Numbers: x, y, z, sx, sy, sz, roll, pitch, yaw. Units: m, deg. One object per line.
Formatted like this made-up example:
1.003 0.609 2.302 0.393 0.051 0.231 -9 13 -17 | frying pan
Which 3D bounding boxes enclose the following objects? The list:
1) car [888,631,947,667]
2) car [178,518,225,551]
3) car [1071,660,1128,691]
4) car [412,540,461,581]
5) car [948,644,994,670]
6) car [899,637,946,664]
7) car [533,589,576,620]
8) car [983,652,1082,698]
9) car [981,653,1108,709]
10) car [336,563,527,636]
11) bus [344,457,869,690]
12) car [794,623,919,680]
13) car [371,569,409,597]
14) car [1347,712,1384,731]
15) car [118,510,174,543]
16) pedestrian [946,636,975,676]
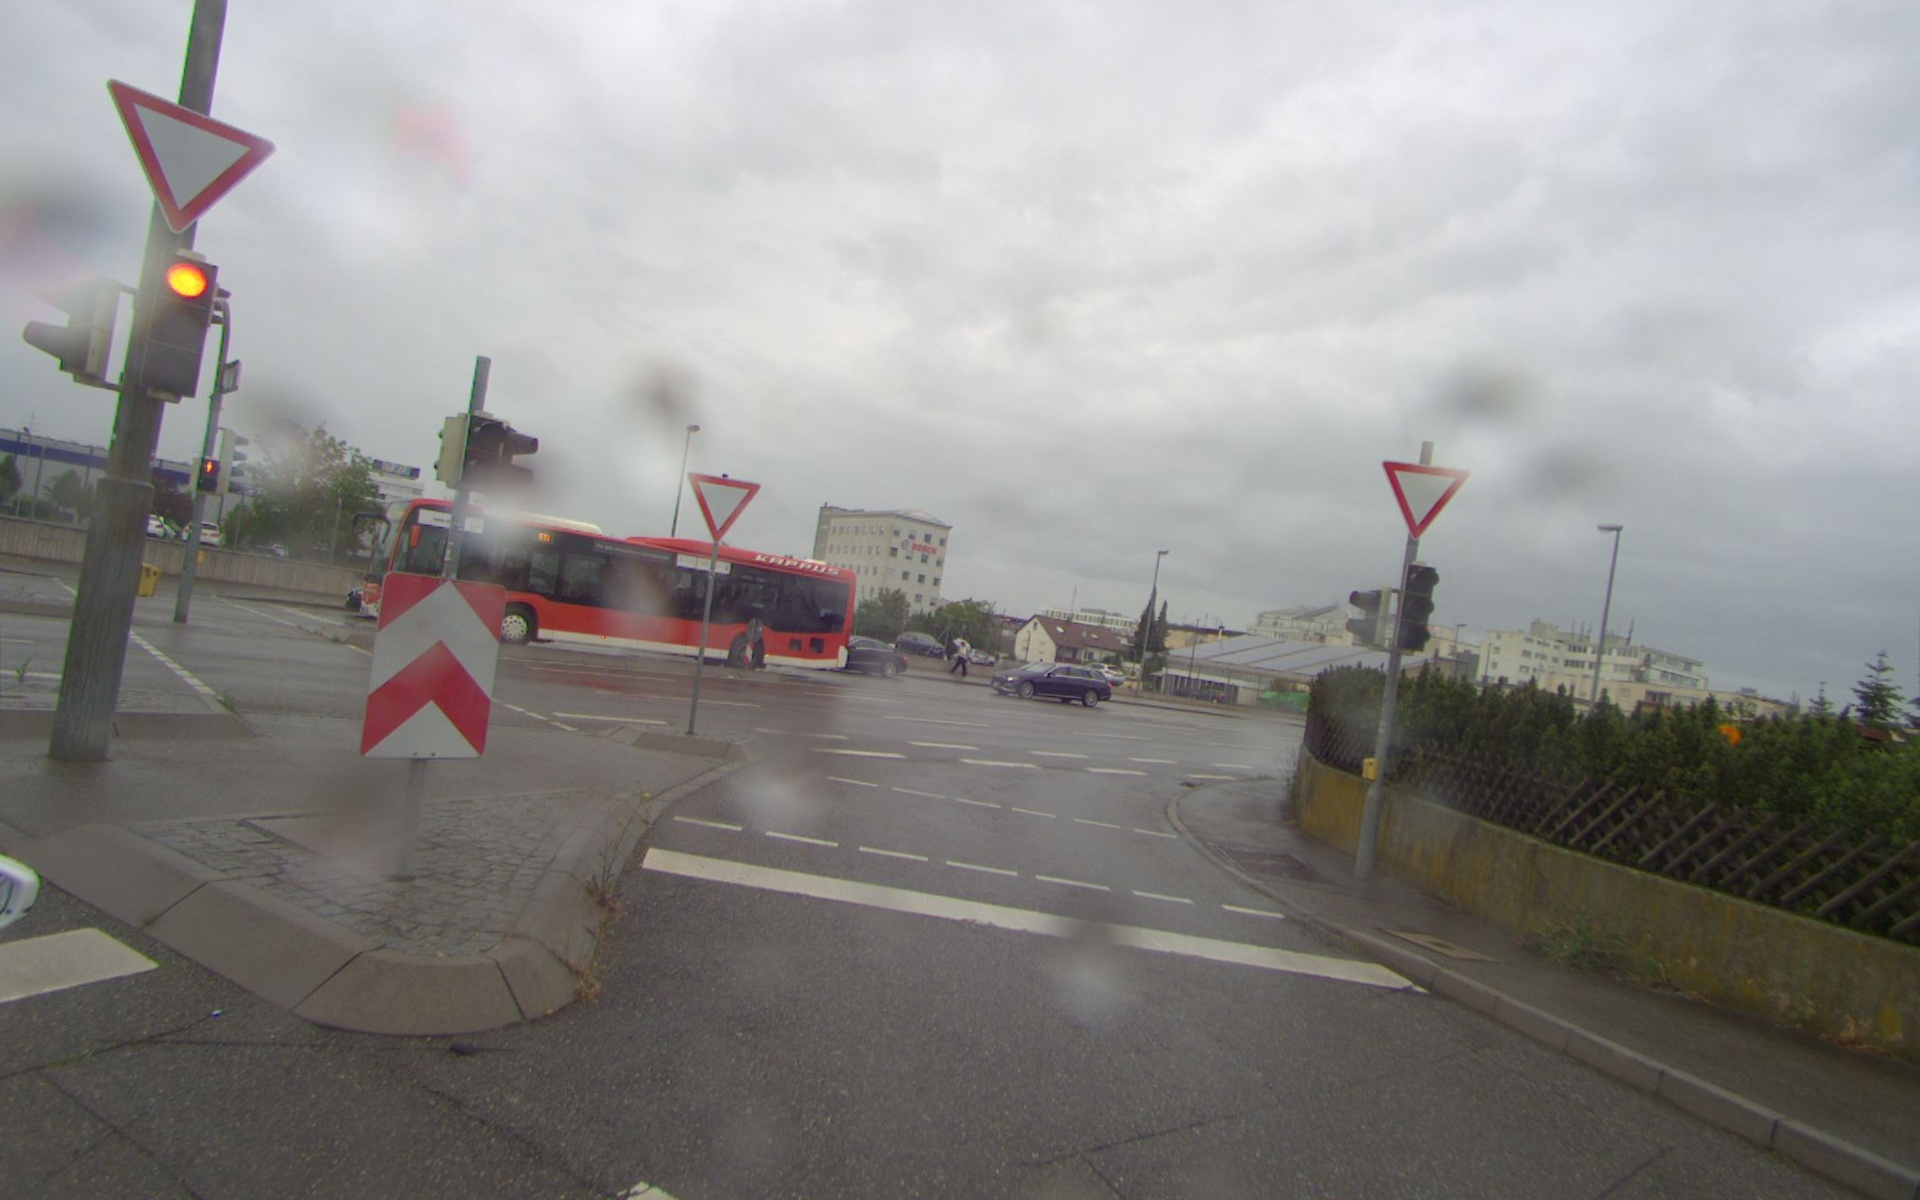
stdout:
-2.638 2.977 61.595 1.912 1.684 3.869 9 -2 -29 | car
-43.815 -3.745 58.214 1.847 1.543 4.066 8 -2 -35 | car
9.665 5.235 70.112 1.976 1.561 3.977 9 -2 -25 | car
-30.046 -2.307 57.694 1.734 2.037 3.786 8 -2 -37 | car
0.883 4.709 83.567 1.980 1.636 3.970 9 -2 -30 | car
-3.084 4.093 81.280 1.980 1.636 3.970 9 -2 -30 | car
-31.893 0.316 79.076 1.983 2.037 3.962 8 -2 -36 | car
3.203 3.287 44.054 3.948 1.525 1.853 9 -2 -36 | car
3.212 3.088 38.262 4.324 1.524 1.987 9 -2 -28 | car
-14.791 0.015 28.312 4.367 1.370 1.804 10 -3 -42 | car
-8.297 -0.268 25.855 12.223 3.614 2.952 12 -4 -41 | bus
-3.883 1.988 38.182 4.367 1.555 1.804 10 -3 -42 | car
-41.568 -1.265 73.352 1.912 1.607 3.754 9 -2 -34 | car
41.246 12.322 102.213 3.616 1.436 1.720 10 -2 -36 | car
-45.603 -4.098 56.447 1.805 1.450 4.071 8 -2 -32 | car
0.010 2.609 46.773 0.819 1.723 0.893 8 -1 -30 | pedestrian
